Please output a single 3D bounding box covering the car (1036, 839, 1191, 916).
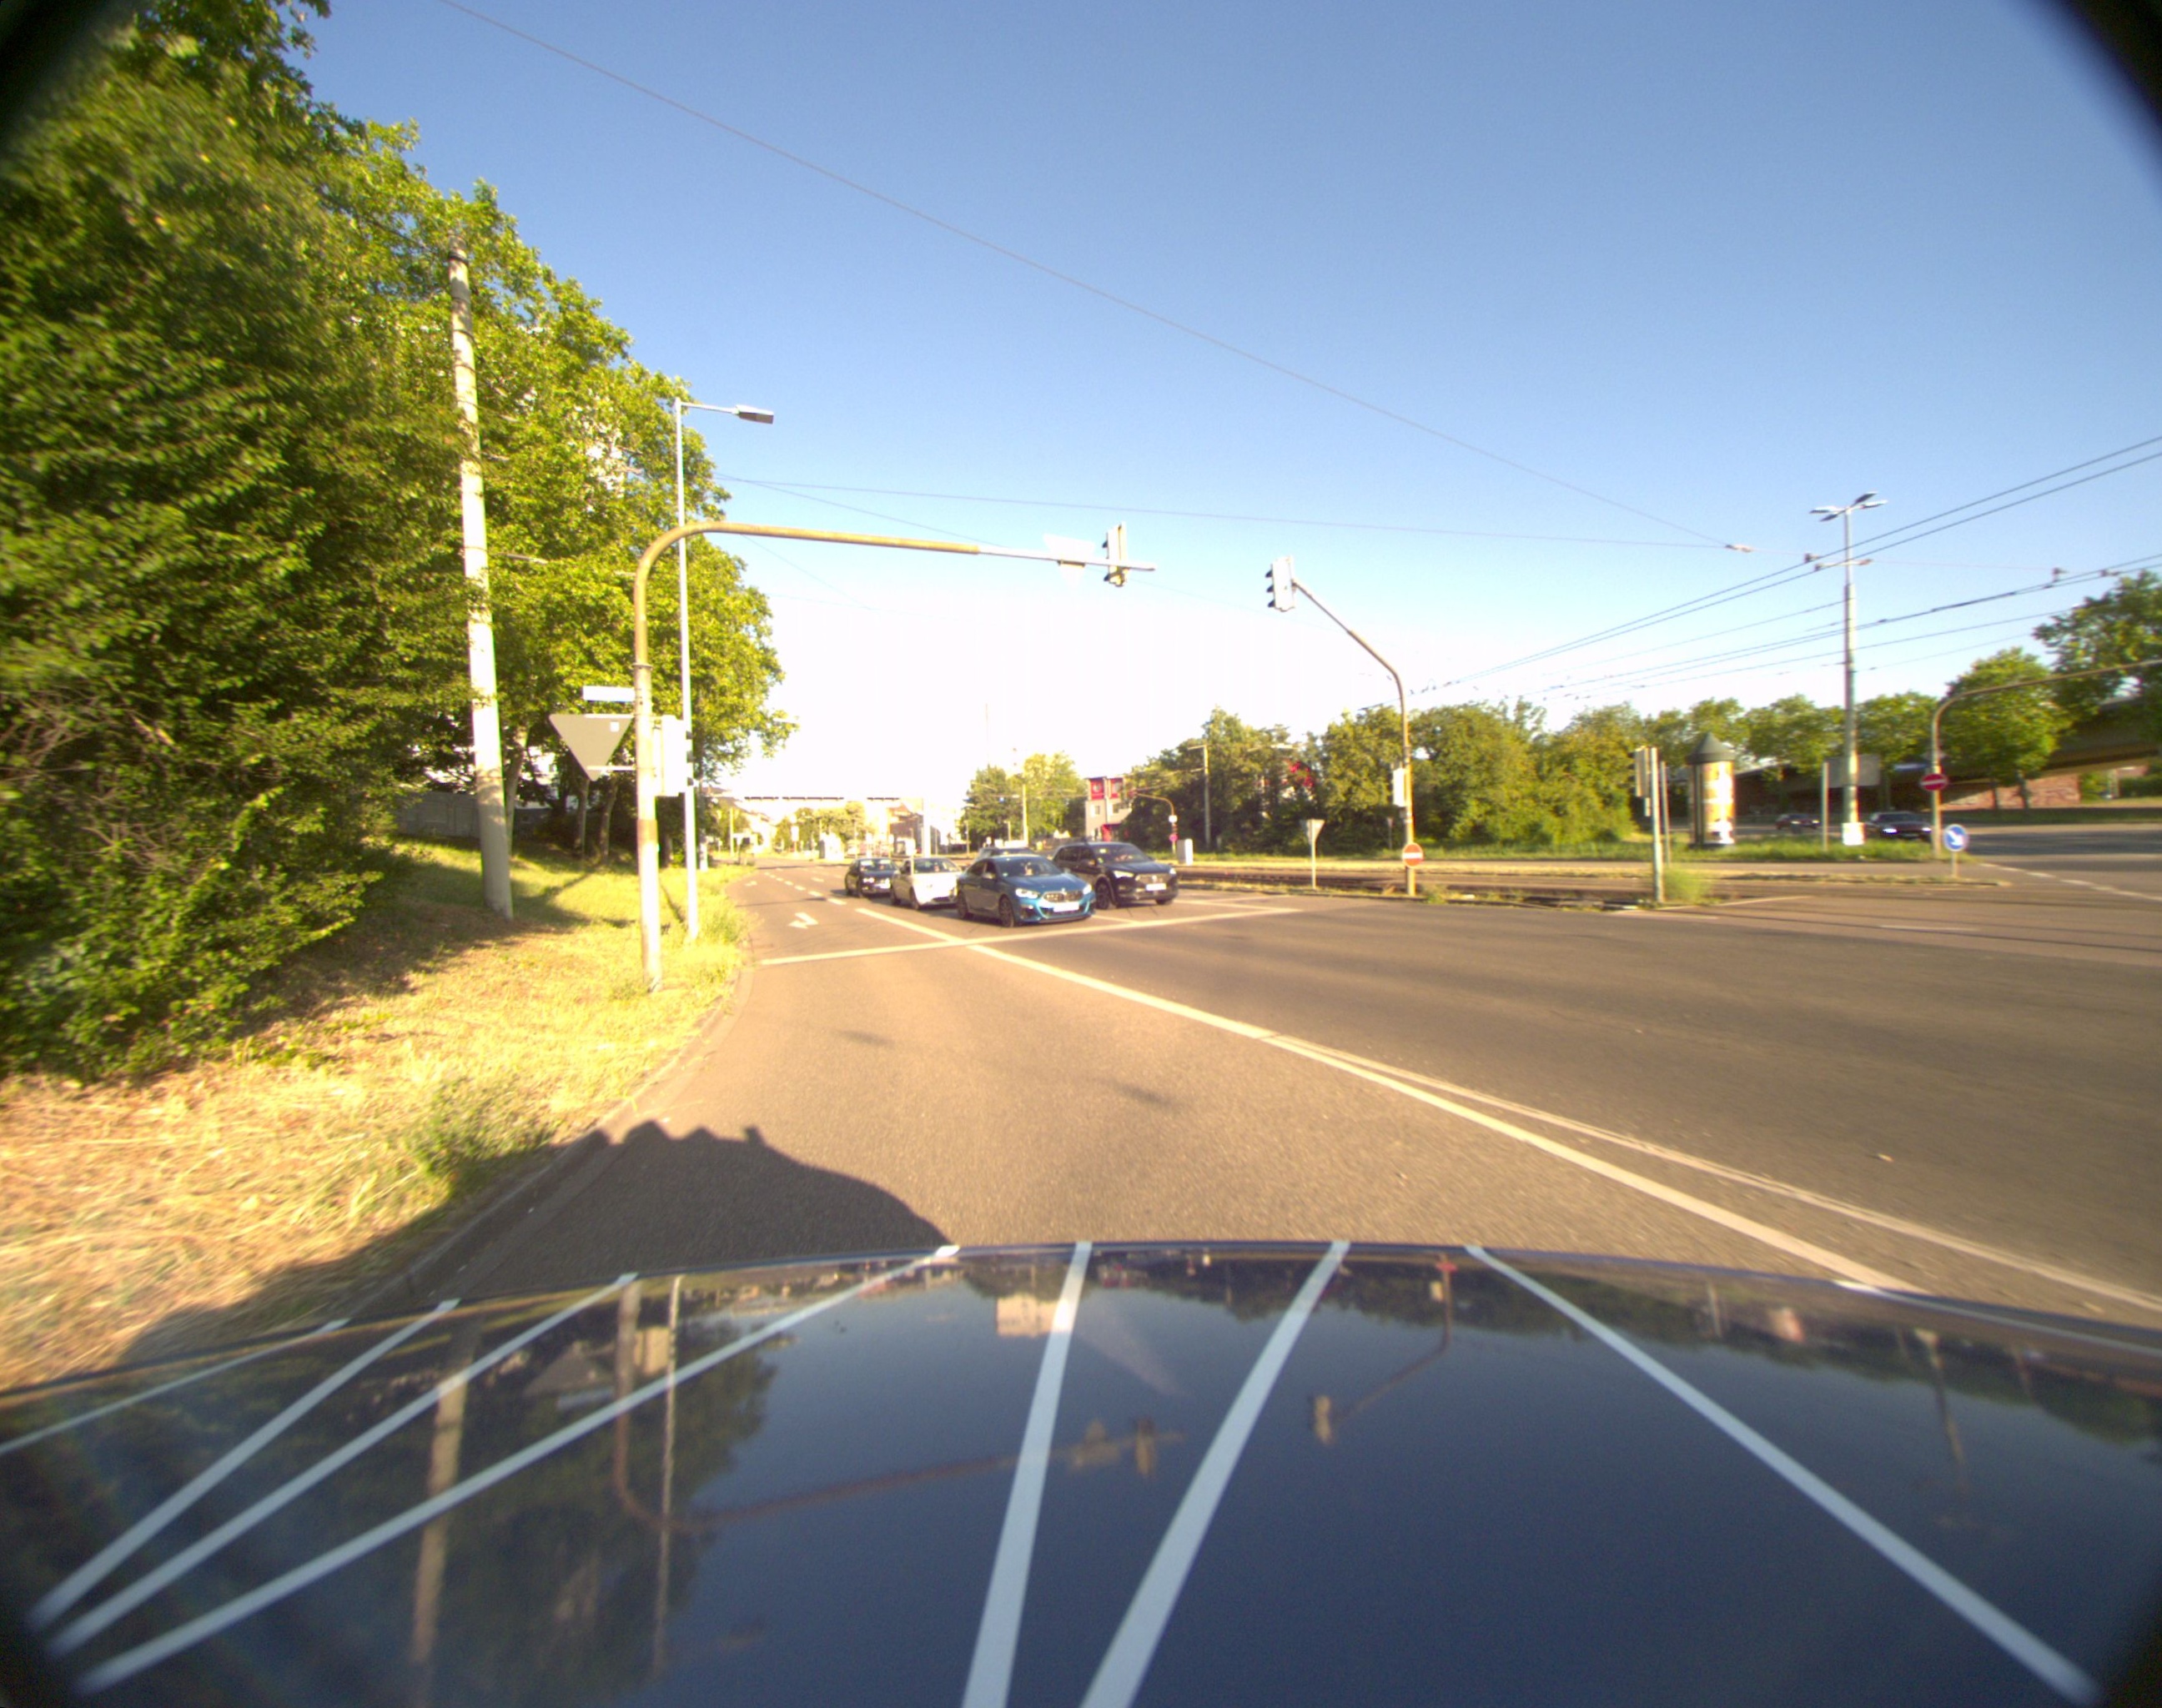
[{"bbox_3d":[0.675,0.520,19.491,1.924,1.672,4.591,-3,1,-27],"label":"car"}]

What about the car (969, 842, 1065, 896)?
[{"bbox_3d":[-2.365,0.475,26.701,1.924,1.639,4.592,-3,1,-24],"label":"car"}]

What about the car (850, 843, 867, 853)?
[{"bbox_3d":[-47.431,-1.345,161.958,1.997,2.002,4.001,-2,2,7],"label":"car"}]

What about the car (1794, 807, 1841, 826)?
[{"bbox_3d":[65.107,-3.271,67.229,1.995,1.477,4.007,-2,0,30],"label":"car"}]

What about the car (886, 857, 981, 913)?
[{"bbox_3d":[-4.392,0.829,22.192,1.668,1.422,3.915,-3,1,-27],"label":"car"}]

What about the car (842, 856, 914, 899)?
[{"bbox_3d":[-7.660,0.827,28.393,1.785,1.422,3.915,-3,1,-27],"label":"car"}]

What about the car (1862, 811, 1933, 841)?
[{"bbox_3d":[45.491,-1.525,42.429,1.994,1.477,4.008,-2,0,37],"label":"car"}]

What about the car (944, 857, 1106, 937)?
[{"bbox_3d":[-1.387,0.812,16.502,1.792,1.409,4.502,-3,1,-28],"label":"car"}]
